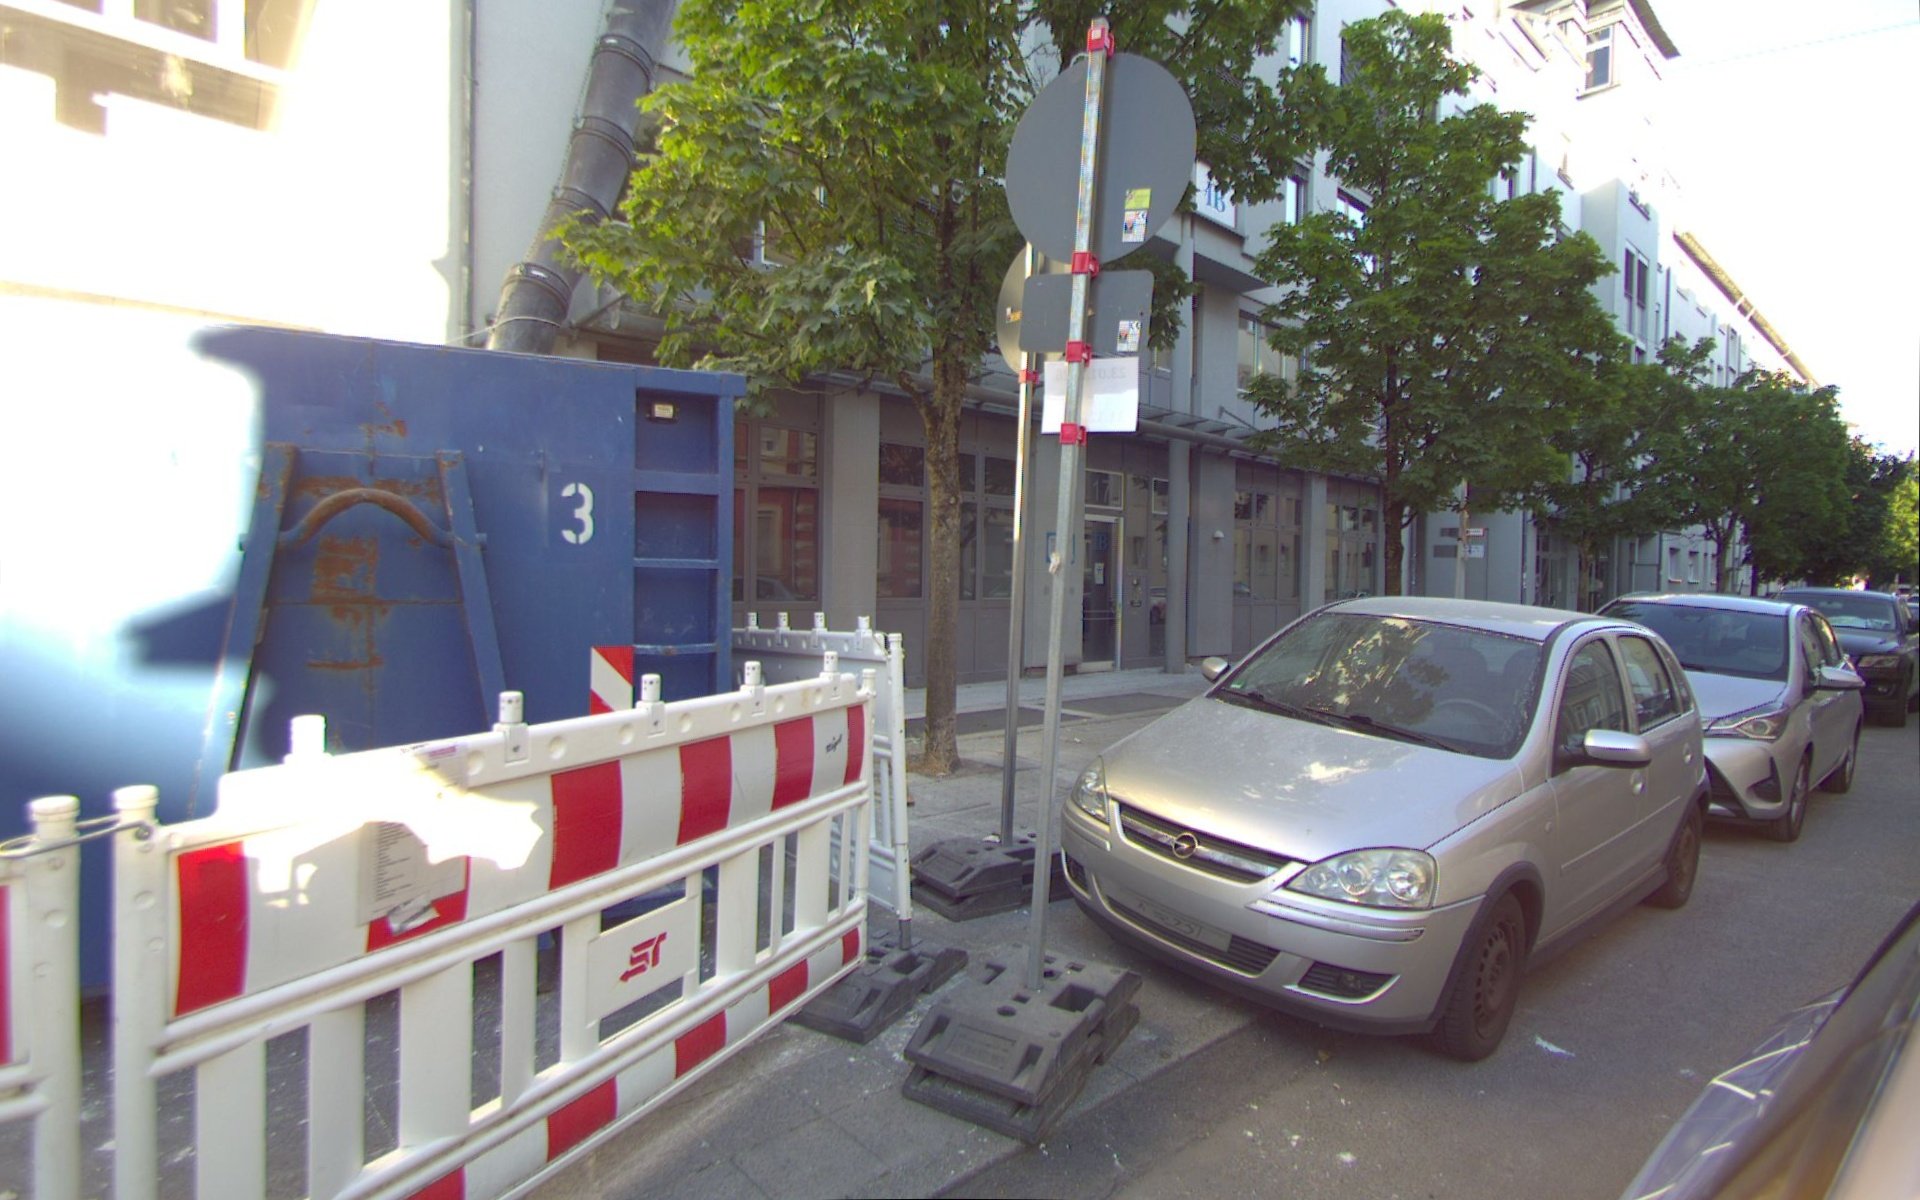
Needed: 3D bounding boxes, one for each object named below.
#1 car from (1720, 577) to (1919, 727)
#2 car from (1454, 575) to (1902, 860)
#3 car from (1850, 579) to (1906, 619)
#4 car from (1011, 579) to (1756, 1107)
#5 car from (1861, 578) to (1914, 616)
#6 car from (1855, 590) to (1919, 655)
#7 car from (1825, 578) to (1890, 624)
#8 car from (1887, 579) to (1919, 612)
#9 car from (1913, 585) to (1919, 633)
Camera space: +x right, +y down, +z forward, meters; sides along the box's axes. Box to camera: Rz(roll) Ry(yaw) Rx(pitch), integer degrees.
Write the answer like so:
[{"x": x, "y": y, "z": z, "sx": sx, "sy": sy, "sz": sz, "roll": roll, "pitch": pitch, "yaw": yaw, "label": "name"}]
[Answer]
[{"x": 11.984, "y": 0.568, "z": 13.746, "sx": 4.315, "sy": 1.710, "sz": 1.861, "roll": 0, "pitch": 1, "yaw": -42, "label": "car"}, {"x": 5.595, "y": 0.632, "z": 7.715, "sx": 3.930, "sy": 1.605, "sz": 1.911, "roll": 0, "pitch": 1, "yaw": -41, "label": "car"}, {"x": 48.619, "y": -0.086, "z": 53.594, "sx": 3.935, "sy": 2.039, "sz": 1.995, "roll": 0, "pitch": 1, "yaw": -45, "label": "car"}, {"x": 2.241, "y": 0.654, "z": 4.755, "sx": 3.995, "sy": 1.465, "sz": 1.637, "roll": 0, "pitch": 1, "yaw": -41, "label": "car"}, {"x": 51.913, "y": -0.182, "z": 56.635, "sx": 3.935, "sy": 2.039, "sz": 1.995, "roll": 0, "pitch": 1, "yaw": -45, "label": "car"}, {"x": 23.427, "y": 0.510, "z": 24.906, "sx": 3.935, "sy": 1.507, "sz": 1.852, "roll": 0, "pitch": 1, "yaw": -45, "label": "car"}, {"x": 41.892, "y": 0.013, "z": 47.208, "sx": 3.935, "sy": 2.039, "sz": 1.995, "roll": 0, "pitch": 1, "yaw": -45, "label": "car"}, {"x": 61.135, "y": -0.315, "z": 65.089, "sx": 3.935, "sy": 2.039, "sz": 1.995, "roll": 0, "pitch": 1, "yaw": -45, "label": "car"}, {"x": 35.238, "y": 0.322, "z": 36.007, "sx": 1.851, "sy": 1.680, "sz": 3.936, "roll": 1, "pitch": 1, "yaw": 44, "label": "car"}]
